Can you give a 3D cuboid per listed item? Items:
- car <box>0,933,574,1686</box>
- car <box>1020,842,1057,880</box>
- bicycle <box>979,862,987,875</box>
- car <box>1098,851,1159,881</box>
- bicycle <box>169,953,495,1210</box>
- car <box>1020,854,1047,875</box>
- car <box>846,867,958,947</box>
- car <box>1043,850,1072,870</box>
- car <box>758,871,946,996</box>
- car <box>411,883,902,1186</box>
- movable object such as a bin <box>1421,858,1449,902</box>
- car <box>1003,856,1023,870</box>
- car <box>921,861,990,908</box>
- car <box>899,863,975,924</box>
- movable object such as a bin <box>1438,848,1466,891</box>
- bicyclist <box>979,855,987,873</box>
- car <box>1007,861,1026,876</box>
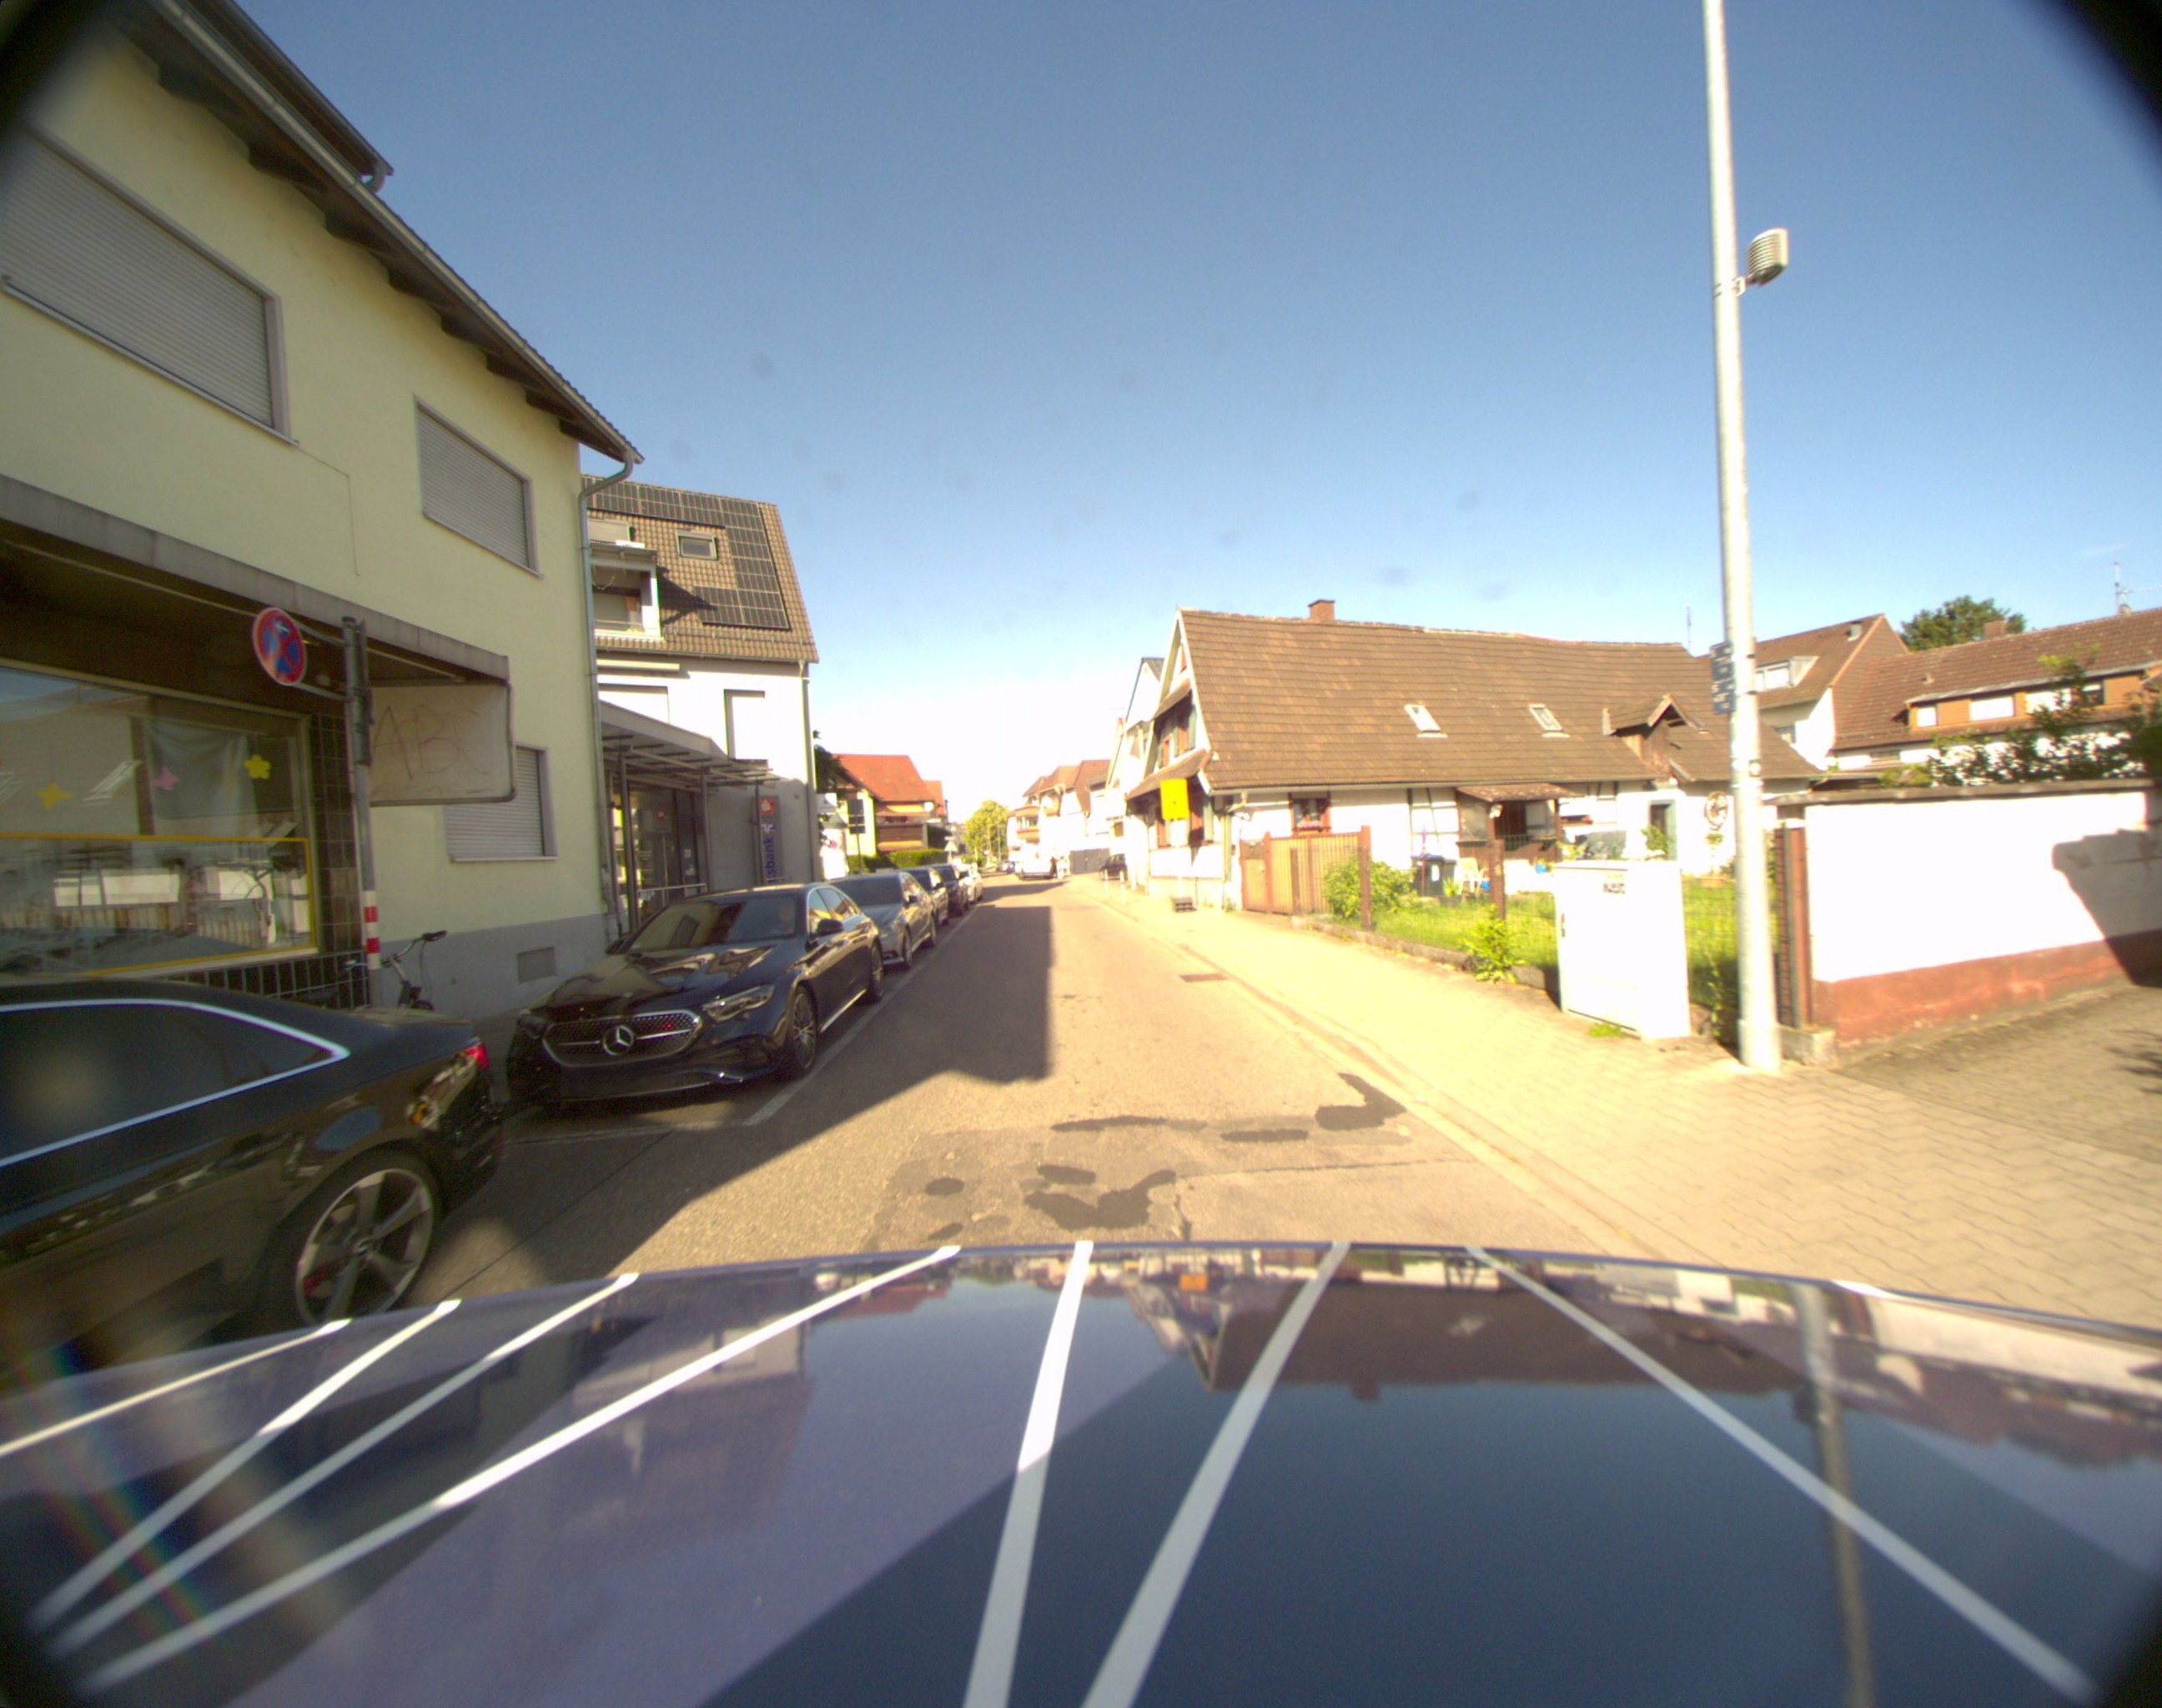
[{"bbox_3d":[-3.339,1.183,1.246,1.813,1.466,4.843,-5,0,-2],"label":"car"},{"bbox_3d":[-3.135,0.485,54.354,2.259,2.456,5.513,-3,0,-6],"label":"car"},{"bbox_3d":[-9.365,1.347,72.803,0.640,1.175,2.021,-3,0,-5],"label":"bicycle"},{"bbox_3d":[2.532,0.662,41.289,1.695,1.437,4.170,-4,1,-20],"label":"car"},{"bbox_3d":[-4.593,1.317,4.824,0.509,1.151,1.507,-4,0,-1],"label":"bicycle"},{"bbox_3d":[-4.010,0.886,63.680,1.728,1.609,4.108,-3,0,-10],"label":"car"},{"bbox_3d":[-4.028,1.129,17.691,1.730,1.466,3.874,-5,0,-2],"label":"car"},{"bbox_3d":[-2.118,0.529,67.734,1.648,1.577,4.107,-3,0,-13],"label":"car"},{"bbox_3d":[-3.508,1.124,12.559,1.813,1.466,4.443,-5,0,-2],"label":"car"},{"bbox_3d":[-3.072,1.157,6.931,1.813,1.466,4.843,-5,0,-2],"label":"car"},{"bbox_3d":[8.511,0.617,18.265,0.418,1.010,0.362,-4,1,-16],"label":"movable object such as a bin"},{"bbox_3d":[-8.066,1.071,89.802,1.765,1.547,3.996,-3,0,-12],"label":"car"},{"bbox_3d":[-4.594,1.057,28.360,1.851,1.505,4.505,-3,0,-1],"label":"car"},{"bbox_3d":[-4.215,1.096,22.792,1.614,1.512,3.970,-5,0,-3],"label":"car"},{"bbox_3d":[8.988,0.379,18.417,0.418,1.010,0.362,-4,1,-16],"label":"movable object such as a bin"},{"bbox_3d":[-9.386,0.957,72.771,0.643,1.655,0.604,-5,1,-5],"label":"bicyclist"},{"bbox_3d":[-6.917,1.522,80.990,1.624,1.431,3.952,-3,0,-10],"label":"car"}]
